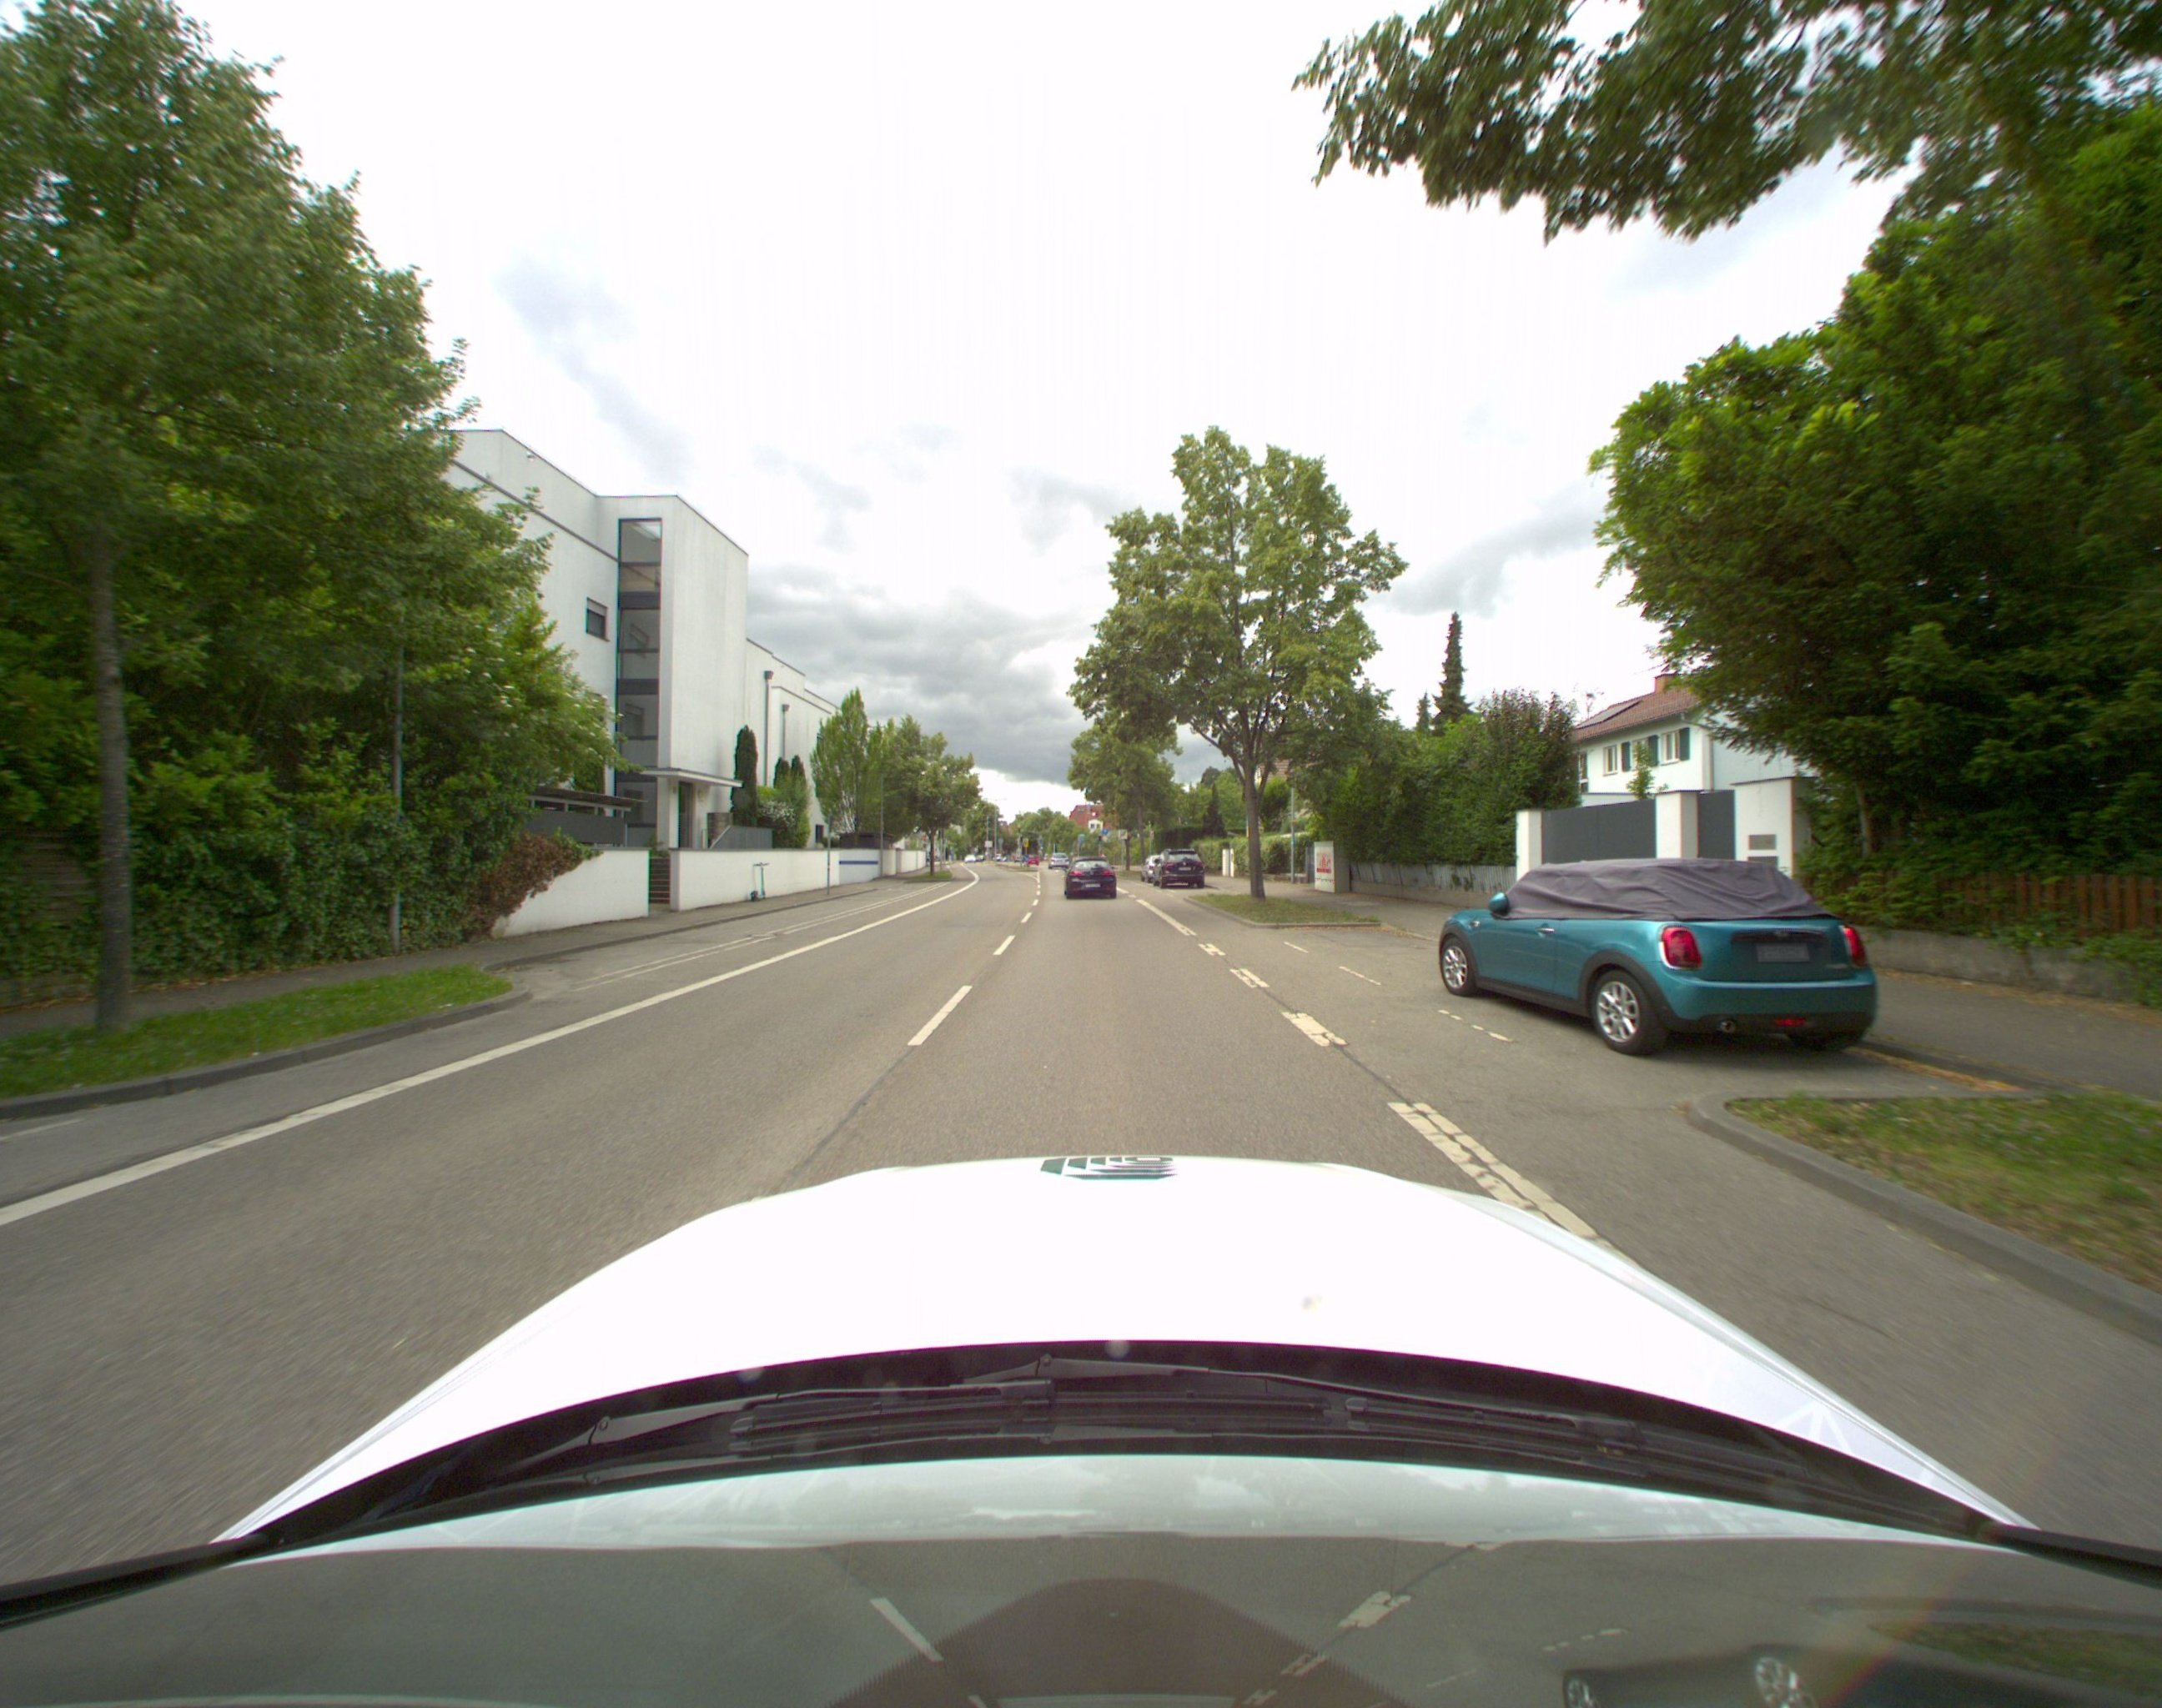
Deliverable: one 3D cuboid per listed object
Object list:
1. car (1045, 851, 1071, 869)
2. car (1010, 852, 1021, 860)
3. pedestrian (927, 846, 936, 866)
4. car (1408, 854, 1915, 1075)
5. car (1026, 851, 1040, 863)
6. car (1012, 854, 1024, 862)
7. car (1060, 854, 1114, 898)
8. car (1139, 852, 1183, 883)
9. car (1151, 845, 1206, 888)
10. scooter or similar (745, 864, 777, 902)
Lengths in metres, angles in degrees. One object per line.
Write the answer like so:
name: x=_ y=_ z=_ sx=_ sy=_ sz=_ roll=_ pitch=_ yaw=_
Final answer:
car: x=-2.177 y=0.576 z=76.105 sx=1.991 sy=1.558 sz=3.990 roll=-3 pitch=-1 yaw=-6
car: x=-14.517 y=0.467 z=181.190 sx=1.966 sy=1.675 sz=3.877 roll=0 pitch=0 yaw=0
pedestrian: x=-15.239 y=0.171 z=83.060 sx=0.751 sy=2.054 sz=0.723 roll=0 pitch=-1 yaw=-6
car: x=4.665 y=0.728 z=7.416 sx=1.678 sy=1.432 sz=4.042 roll=-1 pitch=0 yaw=-1
car: x=-6.763 y=0.431 z=114.197 sx=1.990 sy=1.530 sz=3.994 roll=-1 pitch=0 yaw=-4
car: x=-11.436 y=0.722 z=148.598 sx=1.988 sy=1.508 sz=3.998 roll=0 pitch=-1 yaw=-1
car: x=0.260 y=0.756 z=28.835 sx=1.776 sy=1.449 sz=3.559 roll=-1 pitch=0 yaw=2
car: x=3.997 y=0.657 z=41.148 sx=1.682 sy=1.449 sz=3.576 roll=0 pitch=0 yaw=-3
car: x=4.144 y=0.519 z=35.130 sx=1.783 sy=1.772 sz=3.980 roll=0 pitch=0 yaw=-1
scooter or similar: x=-10.065 y=0.908 z=25.667 sx=0.500 sy=1.154 sz=1.300 roll=0 pitch=0 yaw=-1
